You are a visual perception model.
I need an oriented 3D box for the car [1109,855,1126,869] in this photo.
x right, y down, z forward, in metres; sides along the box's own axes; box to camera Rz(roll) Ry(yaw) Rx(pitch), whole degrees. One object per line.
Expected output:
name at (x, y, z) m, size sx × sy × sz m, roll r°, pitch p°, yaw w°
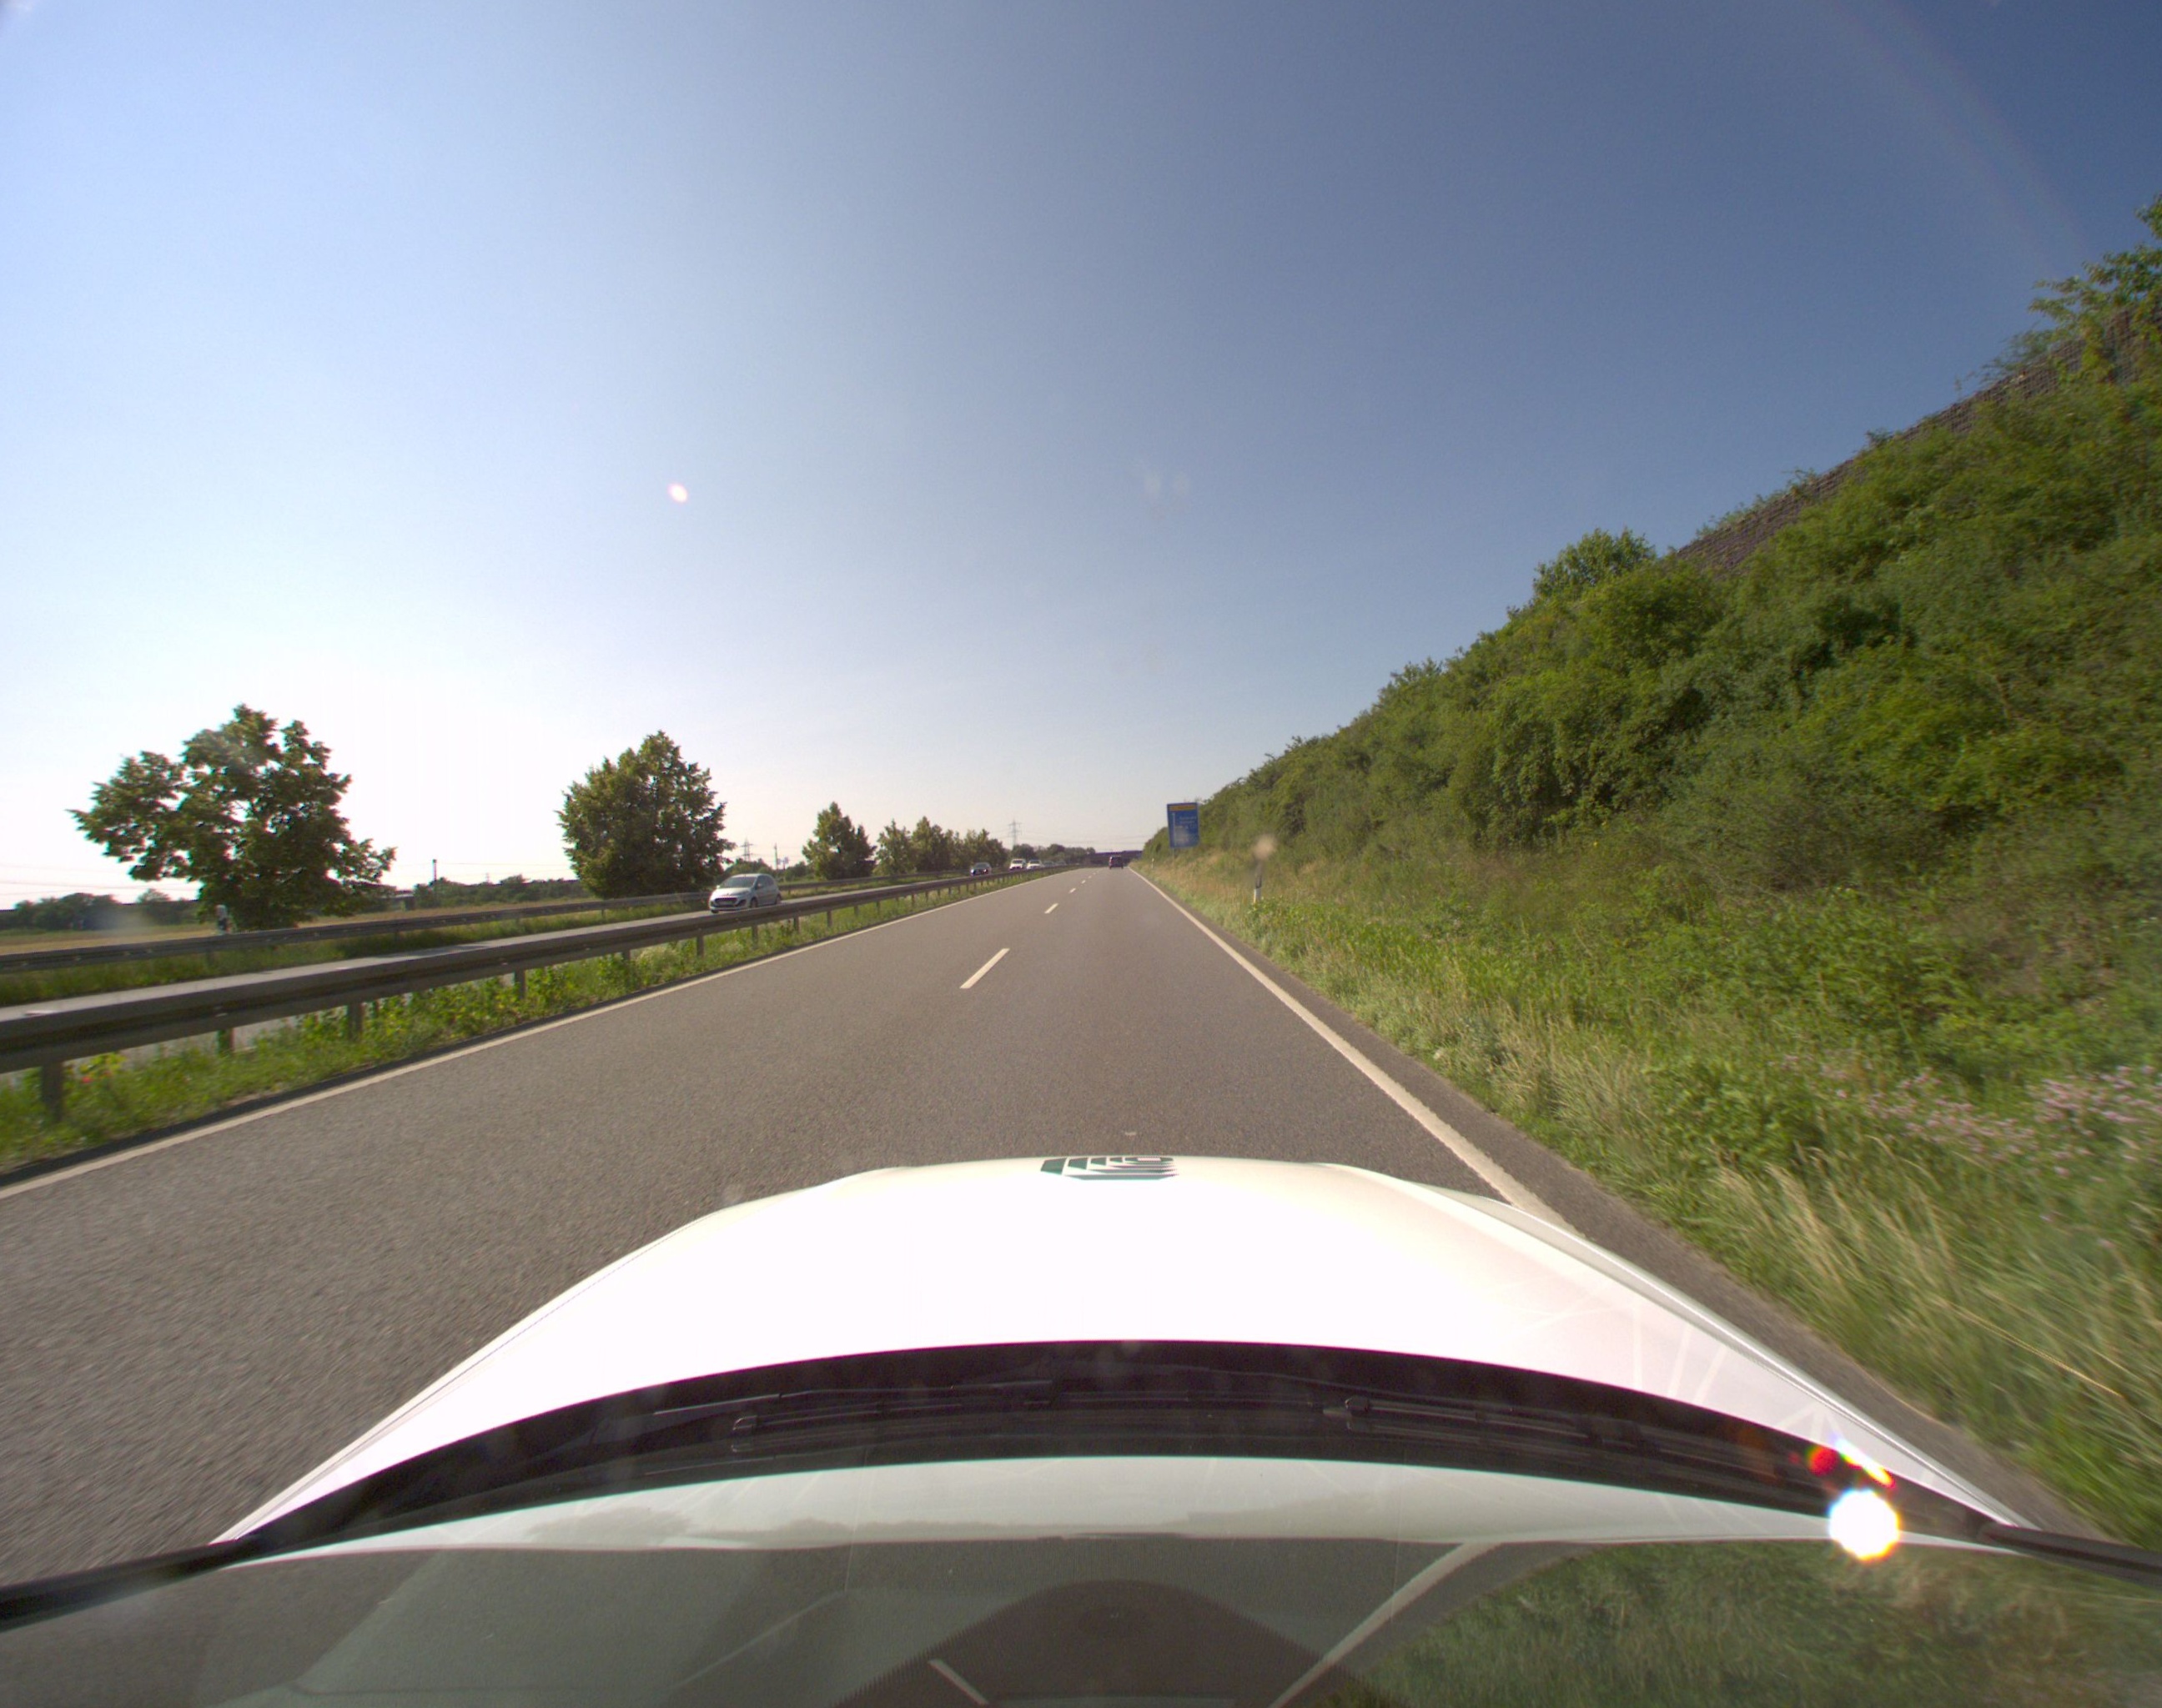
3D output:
car at (4.591, 1.005, 102.919) m, size 1.841 × 1.644 × 4.006 m, roll -3°, pitch -1°, yaw 5°

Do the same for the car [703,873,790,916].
car at (-13.120, 1.552, 32.195) m, size 1.684 × 1.437 × 3.941 m, roll -2°, pitch 0°, yaw 2°

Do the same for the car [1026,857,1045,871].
car at (-5.907, 1.297, 106.350) m, size 1.831 × 1.665 × 4.724 m, roll -2°, pitch 0°, yaw 3°

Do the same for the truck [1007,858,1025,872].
truck at (-9.268, 1.495, 116.501) m, size 1.915 × 1.840 × 5.295 m, roll -2°, pitch 0°, yaw 2°

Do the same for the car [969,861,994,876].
car at (-10.531, 1.486, 86.281) m, size 1.832 × 1.472 × 4.461 m, roll -2°, pitch 0°, yaw 2°
